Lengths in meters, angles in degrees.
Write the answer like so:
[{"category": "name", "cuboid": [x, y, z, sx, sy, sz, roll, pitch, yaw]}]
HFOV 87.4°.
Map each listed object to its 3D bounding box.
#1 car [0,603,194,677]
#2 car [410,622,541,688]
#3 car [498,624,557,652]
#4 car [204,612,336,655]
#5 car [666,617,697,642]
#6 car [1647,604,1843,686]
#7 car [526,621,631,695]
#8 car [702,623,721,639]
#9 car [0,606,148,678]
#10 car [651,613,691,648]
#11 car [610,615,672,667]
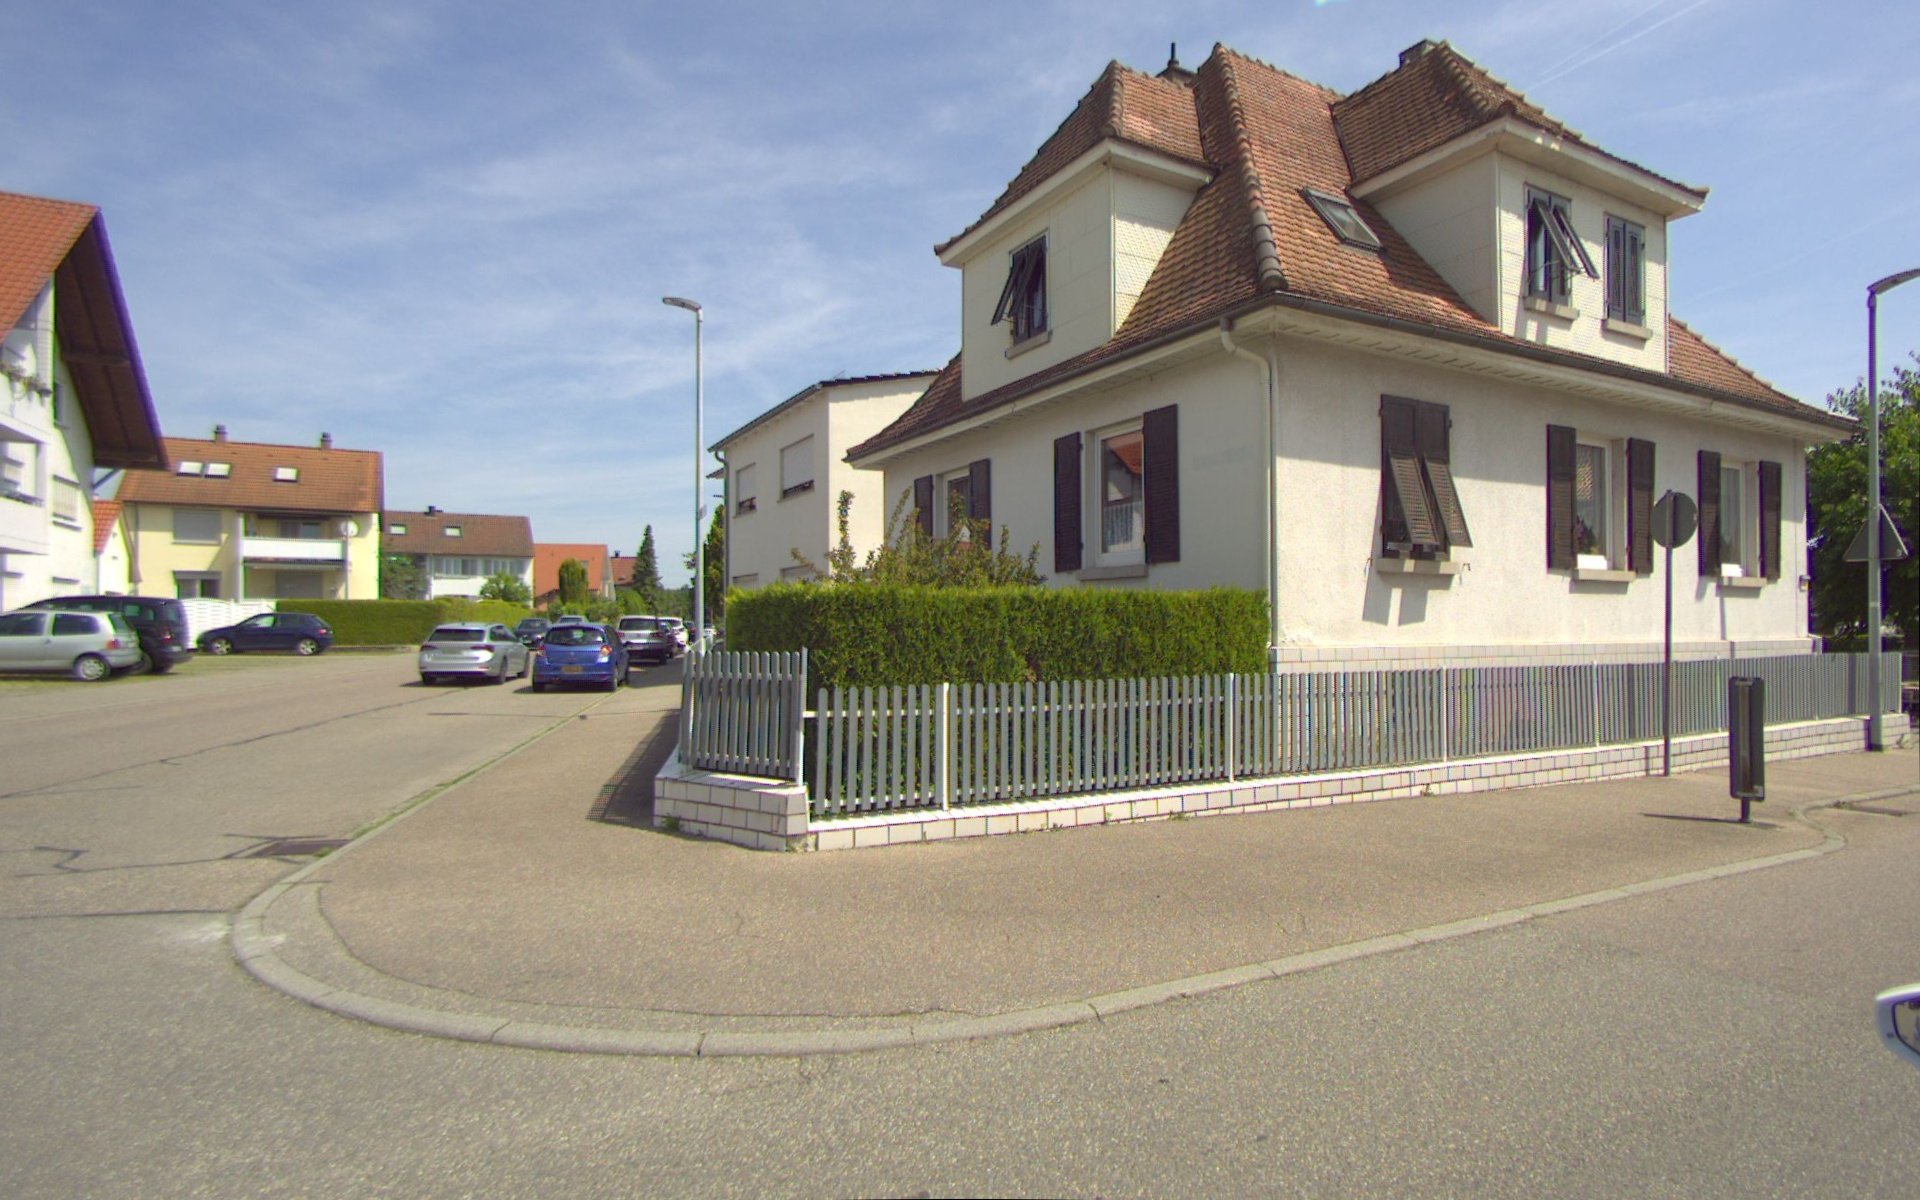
[{"category": "car", "cuboid": [-19.421, 0.906, 22.679, 3.083, 1.545, 1.223, 2, -2, -23]}, {"category": "car", "cuboid": [-11.778, 1.282, 24.748, 1.728, 1.457, 4.579, 1, -1, -11]}, {"category": "car", "cuboid": [-19.937, 1.732, 46.458, 1.751, 1.194, 3.991, 1, -1, -13]}, {"category": "car", "cuboid": [-23.944, 1.181, 35.015, 3.618, 1.408, 1.454, 1, 0, -29]}, {"category": "car", "cuboid": [-17.647, 1.838, 63.795, 1.745, 1.511, 3.766, 1, -1, -14]}, {"category": "car", "cuboid": [26.053, 1.479, 33.541, 1.943, 2.525, 4.780, 1, -2, -30]}, {"category": "car", "cuboid": [-8.581, 1.257, 22.862, 1.745, 1.511, 3.766, 1, -1, -14]}, {"category": "car", "cuboid": [-24.658, 3.032, 99.691, 1.745, 1.511, 3.766, 1, -1, -14]}, {"category": "car", "cuboid": [-18.847, 0.847, 20.454, 3.333, 1.417, 1.321, 1, -2, -26]}, {"category": "car", "cuboid": [-14.706, 1.538, 51.187, 1.745, 1.672, 3.766, 1, -1, -14]}, {"category": "car", "cuboid": [-10.862, 1.372, 34.411, 1.745, 1.672, 3.766, 1, -1, -14]}]
